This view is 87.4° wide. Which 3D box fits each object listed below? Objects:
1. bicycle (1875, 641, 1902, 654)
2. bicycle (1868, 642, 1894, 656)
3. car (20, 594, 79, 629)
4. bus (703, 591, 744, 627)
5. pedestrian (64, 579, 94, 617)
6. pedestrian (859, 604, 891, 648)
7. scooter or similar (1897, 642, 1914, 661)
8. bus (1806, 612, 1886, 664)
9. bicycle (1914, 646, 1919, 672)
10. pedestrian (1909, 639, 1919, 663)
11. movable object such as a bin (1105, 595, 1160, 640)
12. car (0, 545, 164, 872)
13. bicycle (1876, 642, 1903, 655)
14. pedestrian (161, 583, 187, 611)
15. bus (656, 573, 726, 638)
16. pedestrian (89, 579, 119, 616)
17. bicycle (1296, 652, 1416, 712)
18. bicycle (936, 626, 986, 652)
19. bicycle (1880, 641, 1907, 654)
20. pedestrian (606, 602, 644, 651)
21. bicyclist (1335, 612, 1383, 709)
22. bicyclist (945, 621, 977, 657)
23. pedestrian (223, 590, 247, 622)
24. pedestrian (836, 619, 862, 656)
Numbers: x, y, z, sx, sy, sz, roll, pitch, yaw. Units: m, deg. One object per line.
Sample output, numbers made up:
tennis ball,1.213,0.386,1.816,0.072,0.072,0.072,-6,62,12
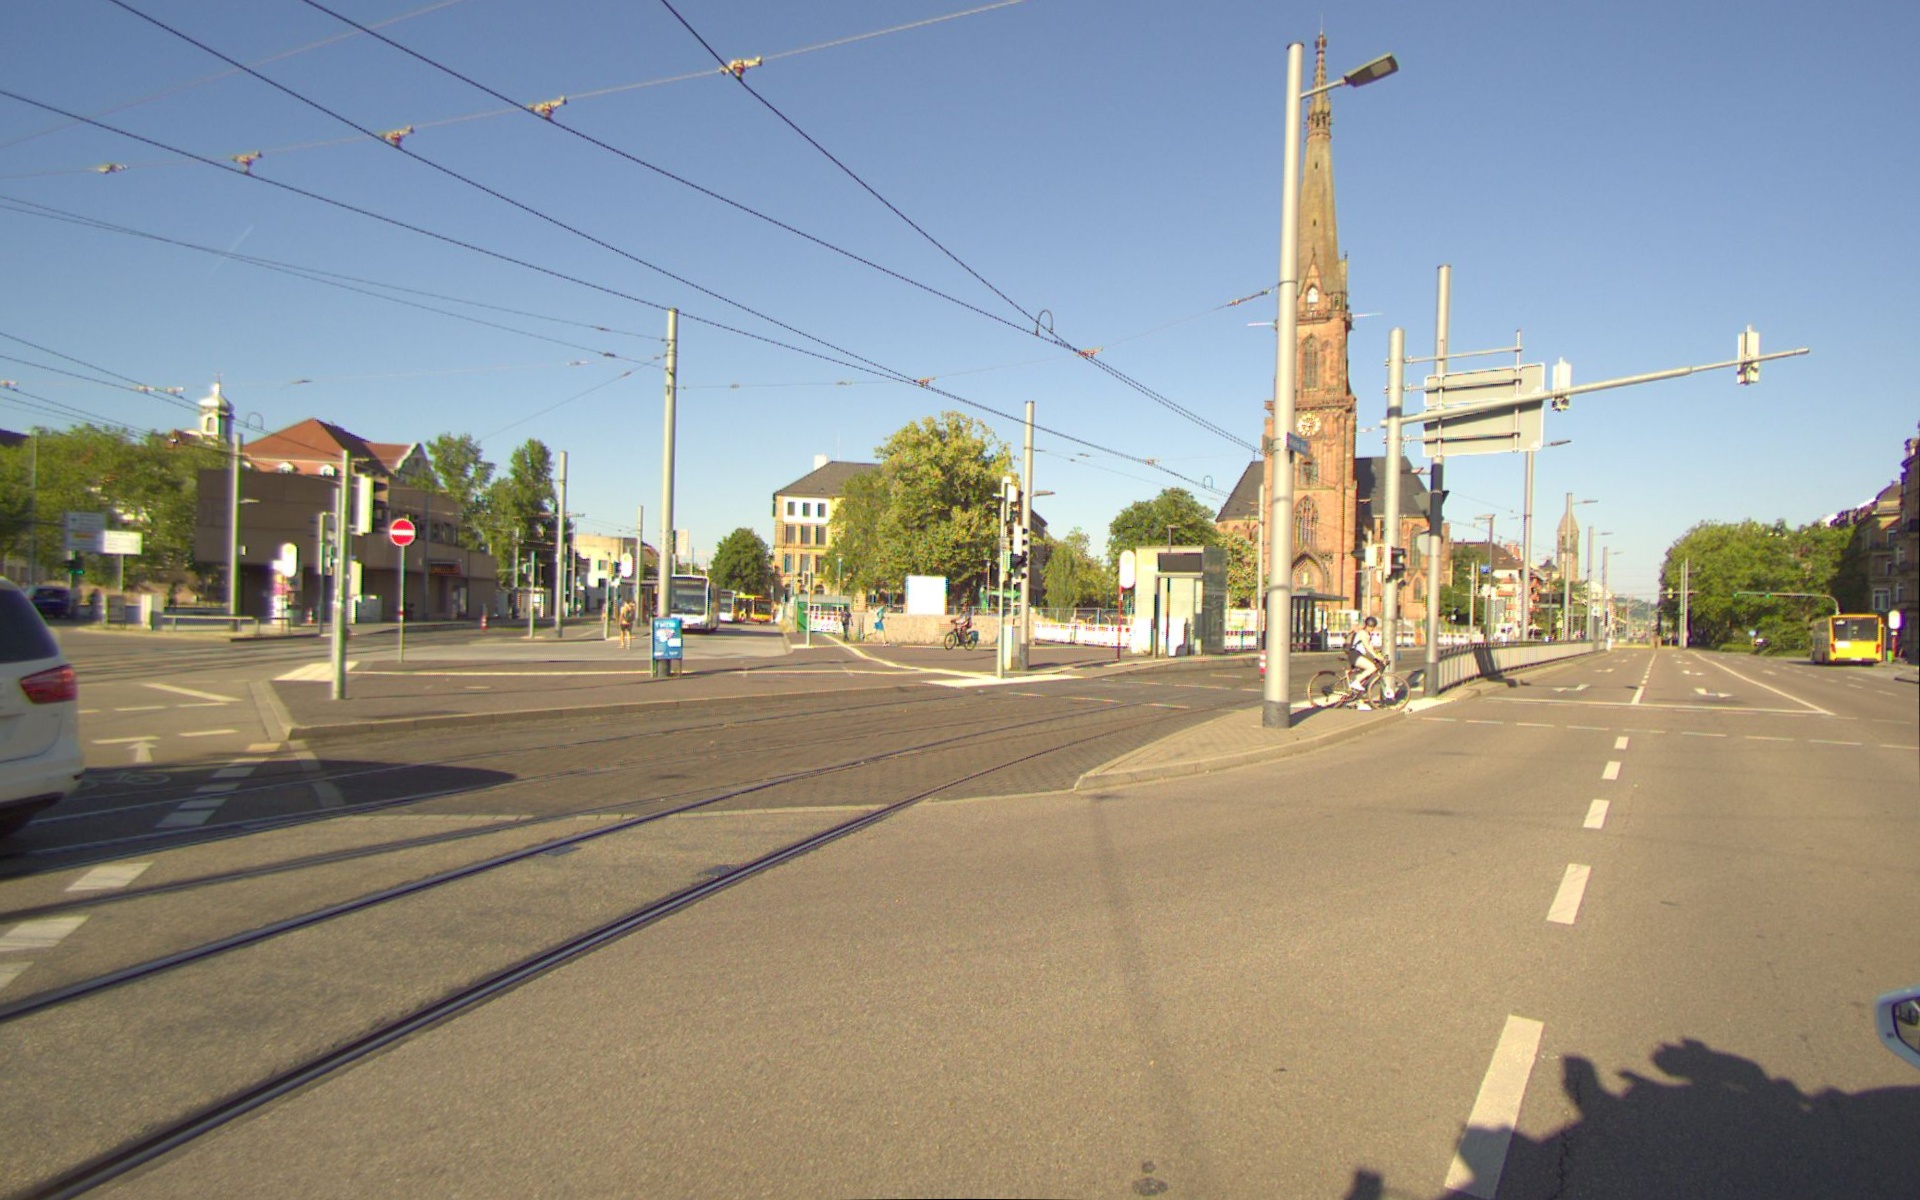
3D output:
bicycle,91.004,4.683,98.497,1.853,1.255,0.490,0,-3,24
bicycle,91.270,4.857,99.560,1.853,1.255,0.490,0,-3,24
car,-45.763,0.529,50.472,3.981,1.652,1.854,0,2,44
bus,-22.975,0.795,98.064,3.193,3.237,12.635,-1,1,-11
pedestrian,-42.299,-0.100,48.230,0.947,1.792,0.802,0,1,32
pedestrian,-3.611,1.093,42.669,0.791,1.792,1.176,0,1,35
scooter or similar,64.765,3.517,68.799,0.424,1.265,1.294,0,-3,26
bus,60.180,2.560,68.515,2.679,3.223,12.501,0,-2,35
bicycle,45.020,2.757,46.831,0.462,1.162,1.765,2,0,35
pedestrian,77.586,4.138,81.374,0.811,1.955,1.133,1,-1,35
movable object such as a bin,10.449,1.011,60.494,2.582,2.560,5.170,-1,1,18
car,-7.321,0.533,5.657,4.373,1.756,1.943,1,-1,8
bicycle,90.695,4.696,97.997,1.853,1.255,0.490,0,-3,24
pedestrian,-44.207,-0.170,56.511,1.159,1.589,0.802,0,1,32
bus,-15.074,0.228,57.132,2.791,3.237,12.635,-1,1,-11
pedestrian,-41.704,-0.118,48.942,0.956,1.792,0.802,0,1,32
bicycle,6.929,1.413,17.583,1.862,0.954,0.814,0,-2,31
bicycle,0.037,1.585,40.741,1.989,0.954,0.804,3,4,-45
bicycle,90.117,4.611,96.996,1.853,1.255,0.490,0,-3,24
pedestrian,-11.931,0.931,35.759,1.036,1.709,0.728,-1,1,19
bicyclist,6.983,1.041,17.557,0.664,1.637,0.814,0,-2,31
bicyclist,0.042,1.585,40.740,0.896,1.362,0.805,3,4,-45
pedestrian,-42.014,0.340,58.197,0.791,1.792,0.970,-1,1,-15
pedestrian,-5.327,1.801,48.007,1.042,1.709,0.724,-1,1,-26
